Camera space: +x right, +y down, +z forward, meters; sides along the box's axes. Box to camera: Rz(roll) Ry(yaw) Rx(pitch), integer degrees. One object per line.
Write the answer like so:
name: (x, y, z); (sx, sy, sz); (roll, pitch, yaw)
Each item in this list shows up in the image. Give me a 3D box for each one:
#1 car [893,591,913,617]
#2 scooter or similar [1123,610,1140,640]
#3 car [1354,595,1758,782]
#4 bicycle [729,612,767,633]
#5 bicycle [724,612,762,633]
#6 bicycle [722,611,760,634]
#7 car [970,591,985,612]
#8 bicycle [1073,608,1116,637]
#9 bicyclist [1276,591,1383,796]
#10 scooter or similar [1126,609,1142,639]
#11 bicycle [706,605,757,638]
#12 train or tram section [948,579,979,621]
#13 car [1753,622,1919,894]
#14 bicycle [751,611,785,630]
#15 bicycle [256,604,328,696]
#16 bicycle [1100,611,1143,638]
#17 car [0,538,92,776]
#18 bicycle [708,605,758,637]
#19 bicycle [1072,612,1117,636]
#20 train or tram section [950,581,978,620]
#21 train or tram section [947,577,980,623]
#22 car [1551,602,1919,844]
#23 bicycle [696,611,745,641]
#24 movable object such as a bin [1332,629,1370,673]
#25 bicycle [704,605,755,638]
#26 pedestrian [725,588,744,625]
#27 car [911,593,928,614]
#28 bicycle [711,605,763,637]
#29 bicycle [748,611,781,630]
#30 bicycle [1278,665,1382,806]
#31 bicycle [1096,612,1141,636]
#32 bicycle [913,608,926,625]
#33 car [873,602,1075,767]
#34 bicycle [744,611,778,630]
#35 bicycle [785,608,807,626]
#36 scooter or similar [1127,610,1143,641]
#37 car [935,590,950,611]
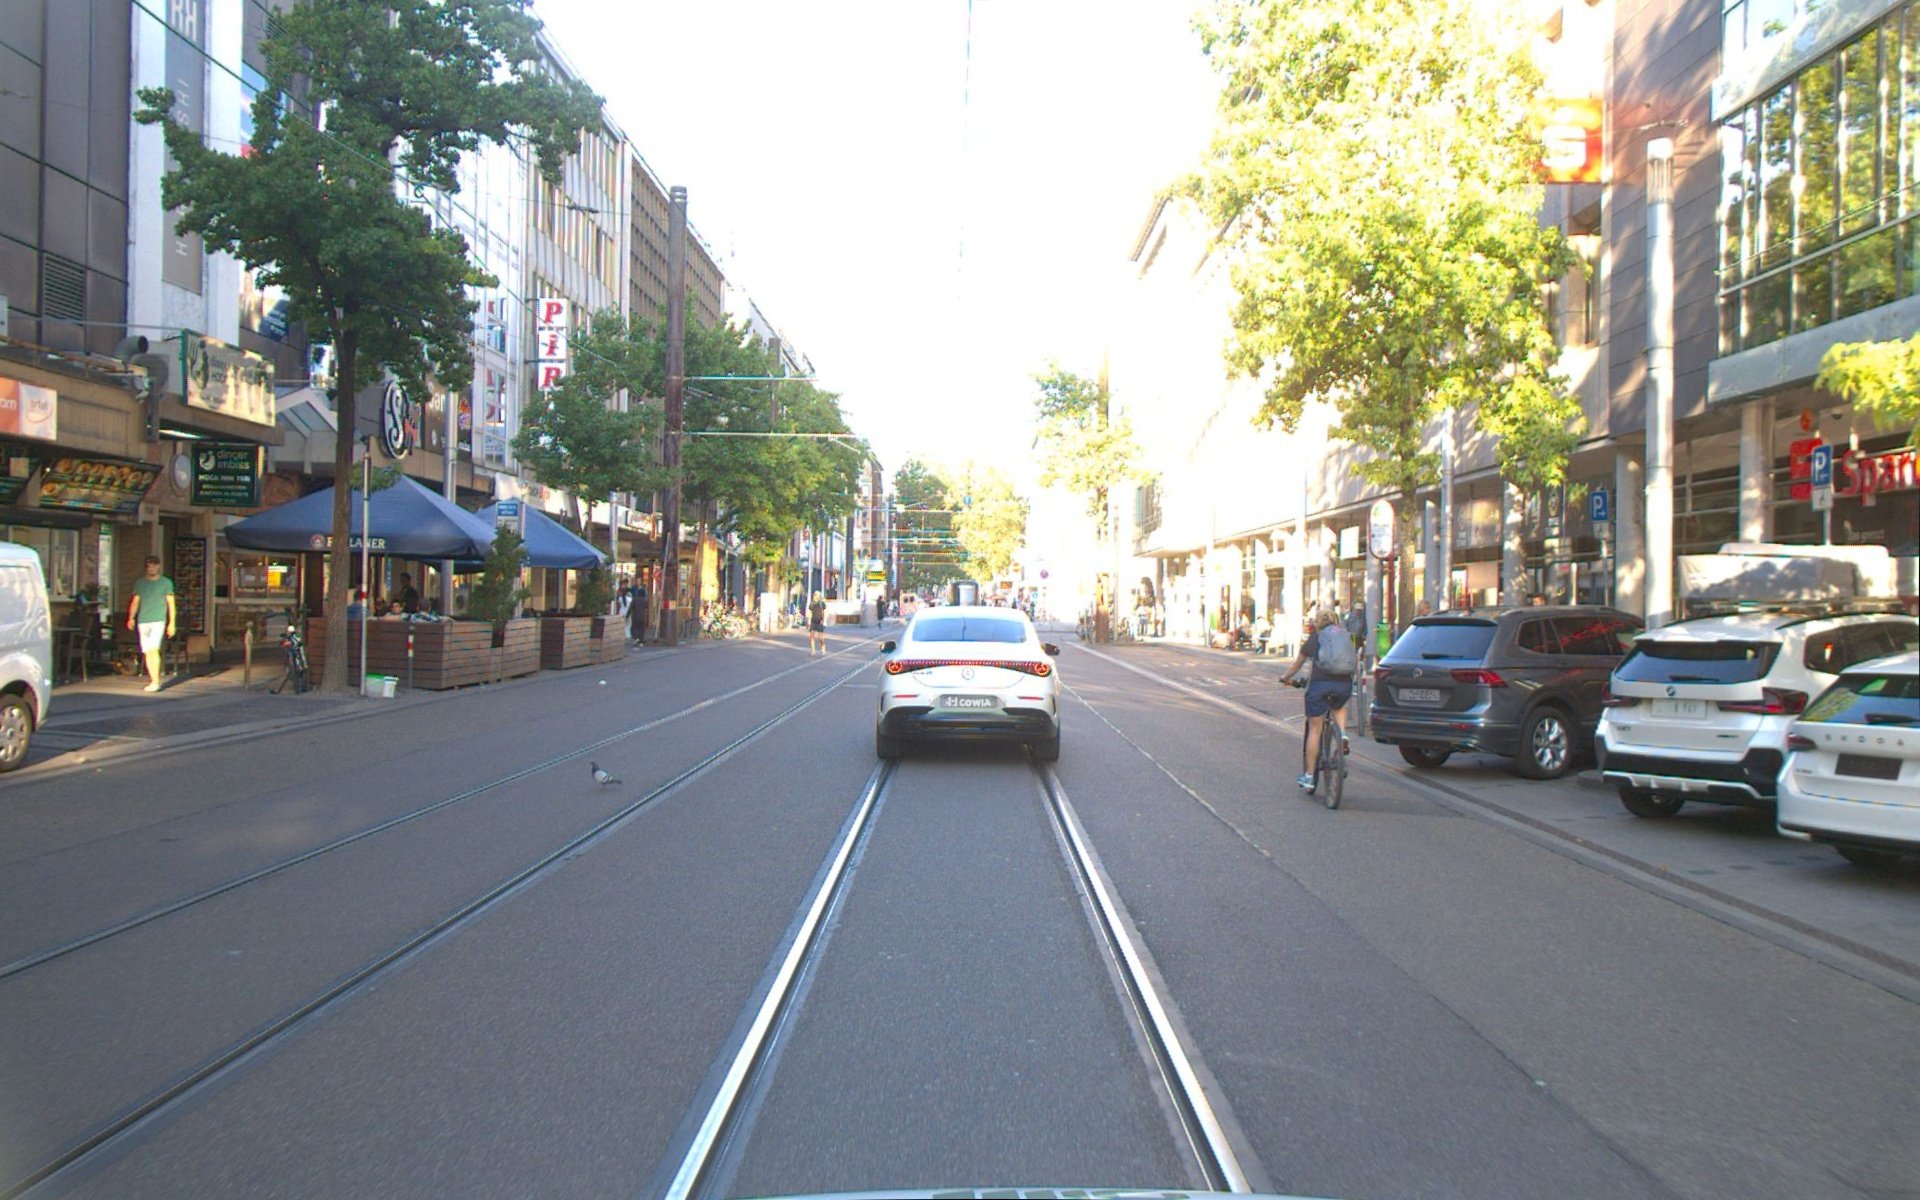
car: (-6.420, 0.449, 187.561); (1.952, 2.948, 5.275); (1, 0, 1)
scooter or similar: (7.436, 1.073, 71.726); (0.518, 1.299, 0.658); (-1, 0, -11)
car: (6.329, 0.840, 17.428); (4.299, 1.681, 1.677); (-1, 0, -31)
bicycle: (-8.722, 0.916, 68.005); (1.462, 0.797, 0.345); (2, 0, 1)
bicycle: (-8.845, 0.907, 67.351); (1.462, 0.797, 0.345); (2, 0, 1)
bicycle: (-8.833, 0.900, 66.651); (1.462, 0.855, 0.345); (2, 0, 1)
car: (2.561, 0.226, 238.613); (2.056, 2.948, 5.285); (1, 0, 1)
bicycle: (6.209, 1.054, 76.443); (1.874, 1.304, 0.608); (-1, 0, -11)
bicyclist: (3.115, 0.767, 14.012); (0.761, 1.641, 0.913); (3, 0, 9)
scooter or similar: (7.616, 1.058, 72.361); (0.518, 1.299, 0.658); (-1, 0, -11)
bicycle: (-8.165, 0.763, 59.188); (1.753, 1.096, 0.377); (2, 0, -4)
train or tram section: (0.357, 0.036, 149.556); (2.639, 3.578, 12.544); (1, 0, 0)
car: (7.275, 0.890, 10.634); (4.091, 1.525, 1.676); (-1, 0, -24)
bicycle: (-8.863, 0.954, 76.362); (1.462, 0.797, 0.345); (2, 0, 1)
bicycle: (-9.313, 0.670, 23.131); (0.686, 1.140, 2.077); (4, 0, -17)
bicycle: (7.388, 1.104, 75.634); (1.874, 1.177, 0.608); (-1, 0, -11)
car: (-8.504, 0.399, 12.061); (1.759, 1.897, 4.554); (3, 0, 1)
bicycle: (-8.648, 0.789, 62.929); (1.808, 1.160, 0.377); (2, 0, 1)
bicycle: (6.455, 1.143, 79.427); (2.076, 1.115, 0.608); (1, -1, -11)
train or tram section: (0.404, 0.060, 161.397); (2.639, 3.578, 11.142); (1, 0, 0)
train or tram section: (0.300, 0.015, 137.004); (2.639, 3.578, 12.544); (1, 0, 0)
car: (6.987, 0.866, 13.497); (4.193, 1.615, 1.864); (-1, 0, -31)
bicycle: (-8.097, 0.872, 55.926); (1.562, 0.947, 0.377); (2, 0, 7)
movable object such as a bin: (8.891, 1.150, 37.609); (0.675, 0.940, 0.718); (2, 0, 1)
bicycle: (-8.177, 0.758, 58.730); (1.753, 1.096, 0.377); (2, 0, -4)
pedestrian: (-11.190, 0.332, 81.992); (0.775, 1.797, 0.533); (1, 0, -24)
car: (-5.014, 0.414, 206.249); (1.870, 2.504, 5.275); (1, 0, 1)
bicycle: (-8.120, 0.775, 60.333); (1.810, 1.096, 0.377); (2, 0, -4)
bicycle: (-8.984, 0.951, 75.999); (1.462, 0.797, 0.345); (2, 0, 1)
bicycle: (3.135, 1.115, 14.171); (0.703, 1.012, 2.060); (3, 0, 9)
bicycle: (7.542, 1.128, 78.759); (2.077, 1.115, 0.608); (0, -1, -13)
bicycle: (-2.796, 1.138, 114.228); (0.784, 1.162, 2.256); (3, 0, -1)
car: (0.131, 0.774, 17.159); (1.819, 1.481, 4.175); (1, 0, 0)
bicycle: (-9.005, 0.932, 74.924); (1.462, 0.797, 0.345); (2, 0, 1)
bicycle: (-9.852, 1.015, 99.323); (0.703, 1.027, 2.041); (1, 0, 14)
scooter or similar: (7.536, 1.090, 71.116); (0.482, 1.299, 0.658); (-1, 0, -11)
car: (-2.531, 0.112, 238.297); (2.056, 2.948, 5.275); (1, 0, 1)
